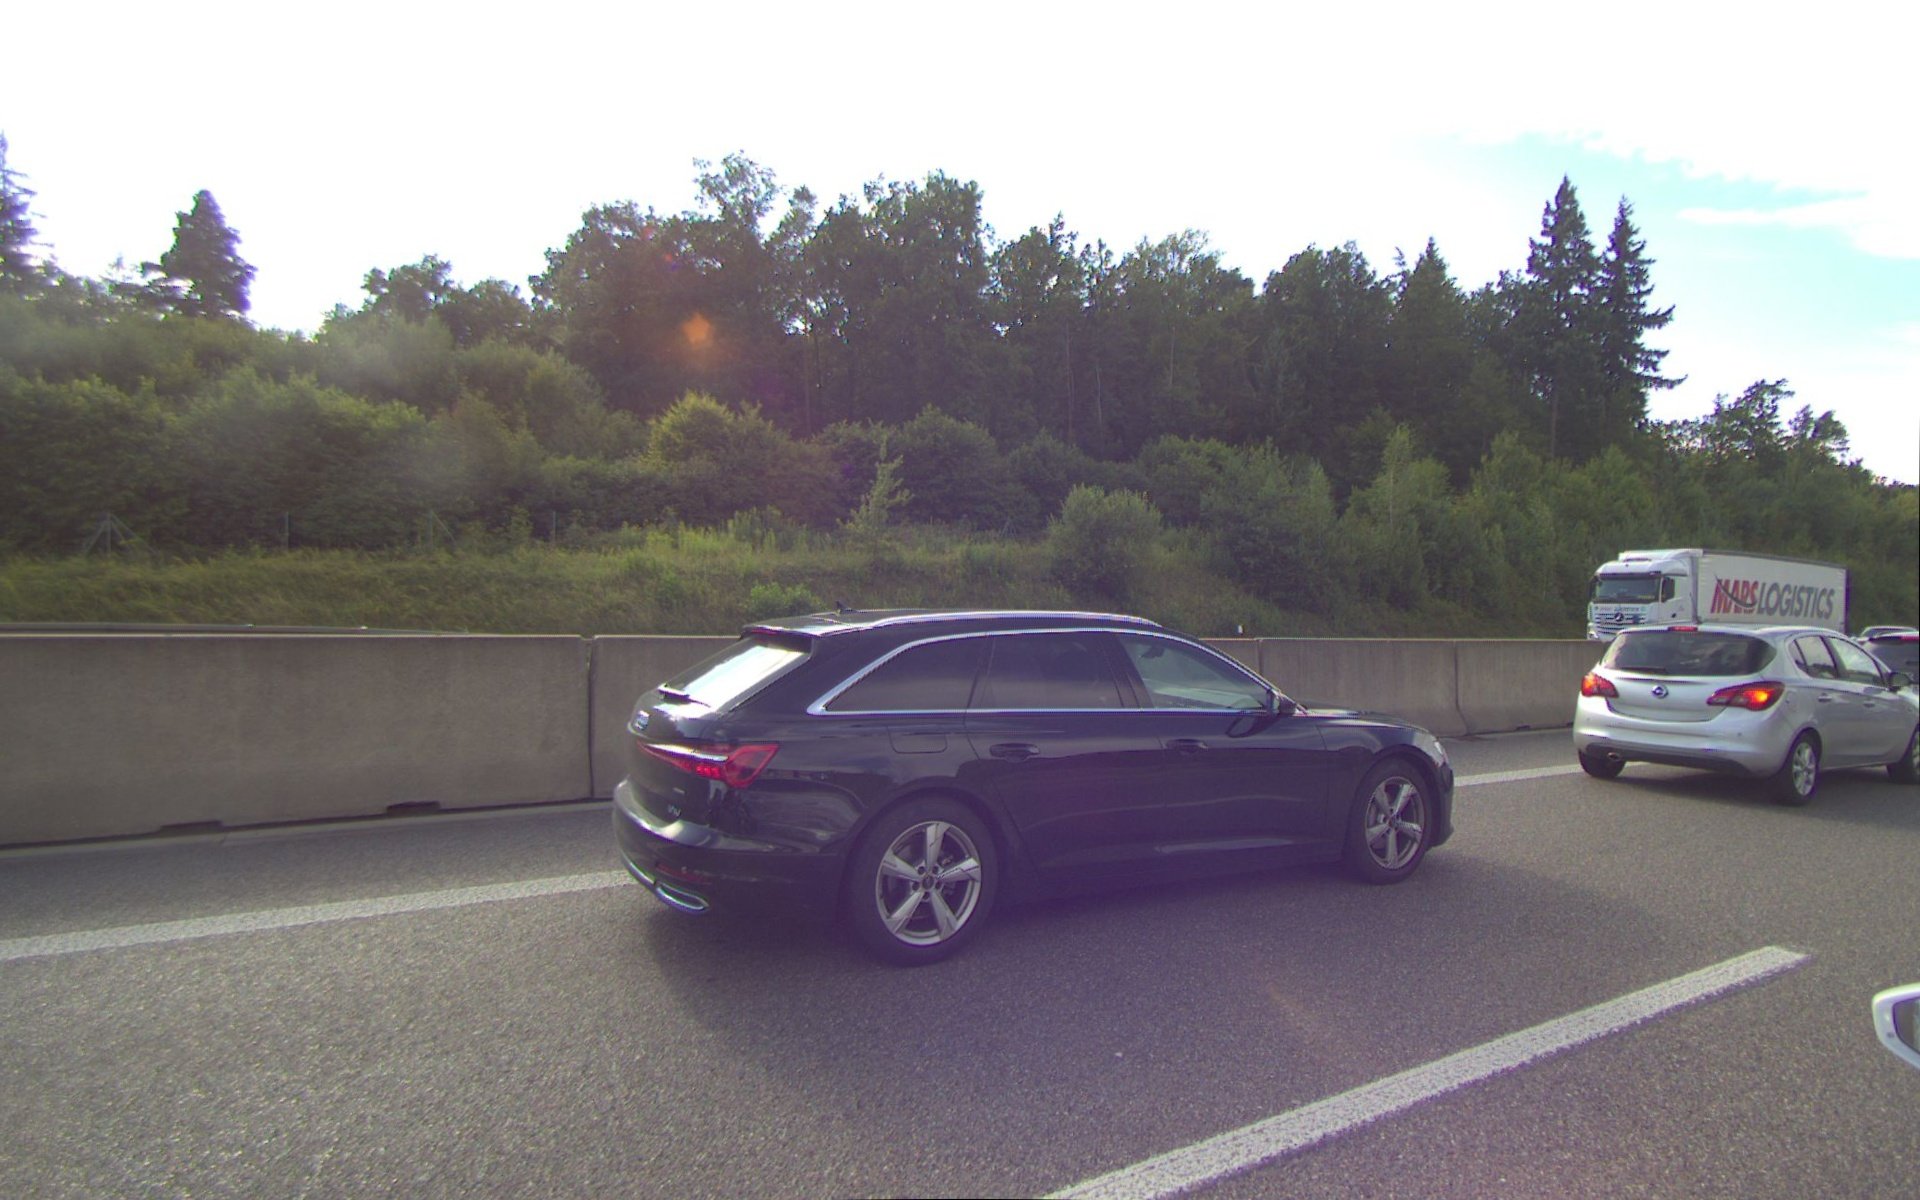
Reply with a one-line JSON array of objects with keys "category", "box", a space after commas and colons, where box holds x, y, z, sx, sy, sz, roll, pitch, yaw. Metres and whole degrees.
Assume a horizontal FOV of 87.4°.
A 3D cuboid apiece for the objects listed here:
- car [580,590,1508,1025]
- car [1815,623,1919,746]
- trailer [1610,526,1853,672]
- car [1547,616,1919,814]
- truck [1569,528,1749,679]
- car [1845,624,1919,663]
[{"category": "car", "box": [0.613, 0.755, 5.450, 4.793, 1.491, 1.874, 1, 0, -29]}, {"category": "car", "box": [13.727, 1.098, 13.563, 4.691, 1.475, 1.834, 1, 0, -30]}, {"category": "trailer", "box": [32.214, 0.150, 41.583, 13.675, 5.351, 3.027, 2, 0, -31]}, {"category": "car", "box": [7.474, 0.914, 9.363, 3.993, 1.485, 1.739, 1, -1, -30]}, {"category": "truck", "box": [26.696, 0.209, 38.307, 6.804, 5.322, 3.024, 2, 0, -31]}, {"category": "car", "box": [38.126, 1.753, 40.848, 4.273, 1.447, 1.944, 1, 0, -31]}]
